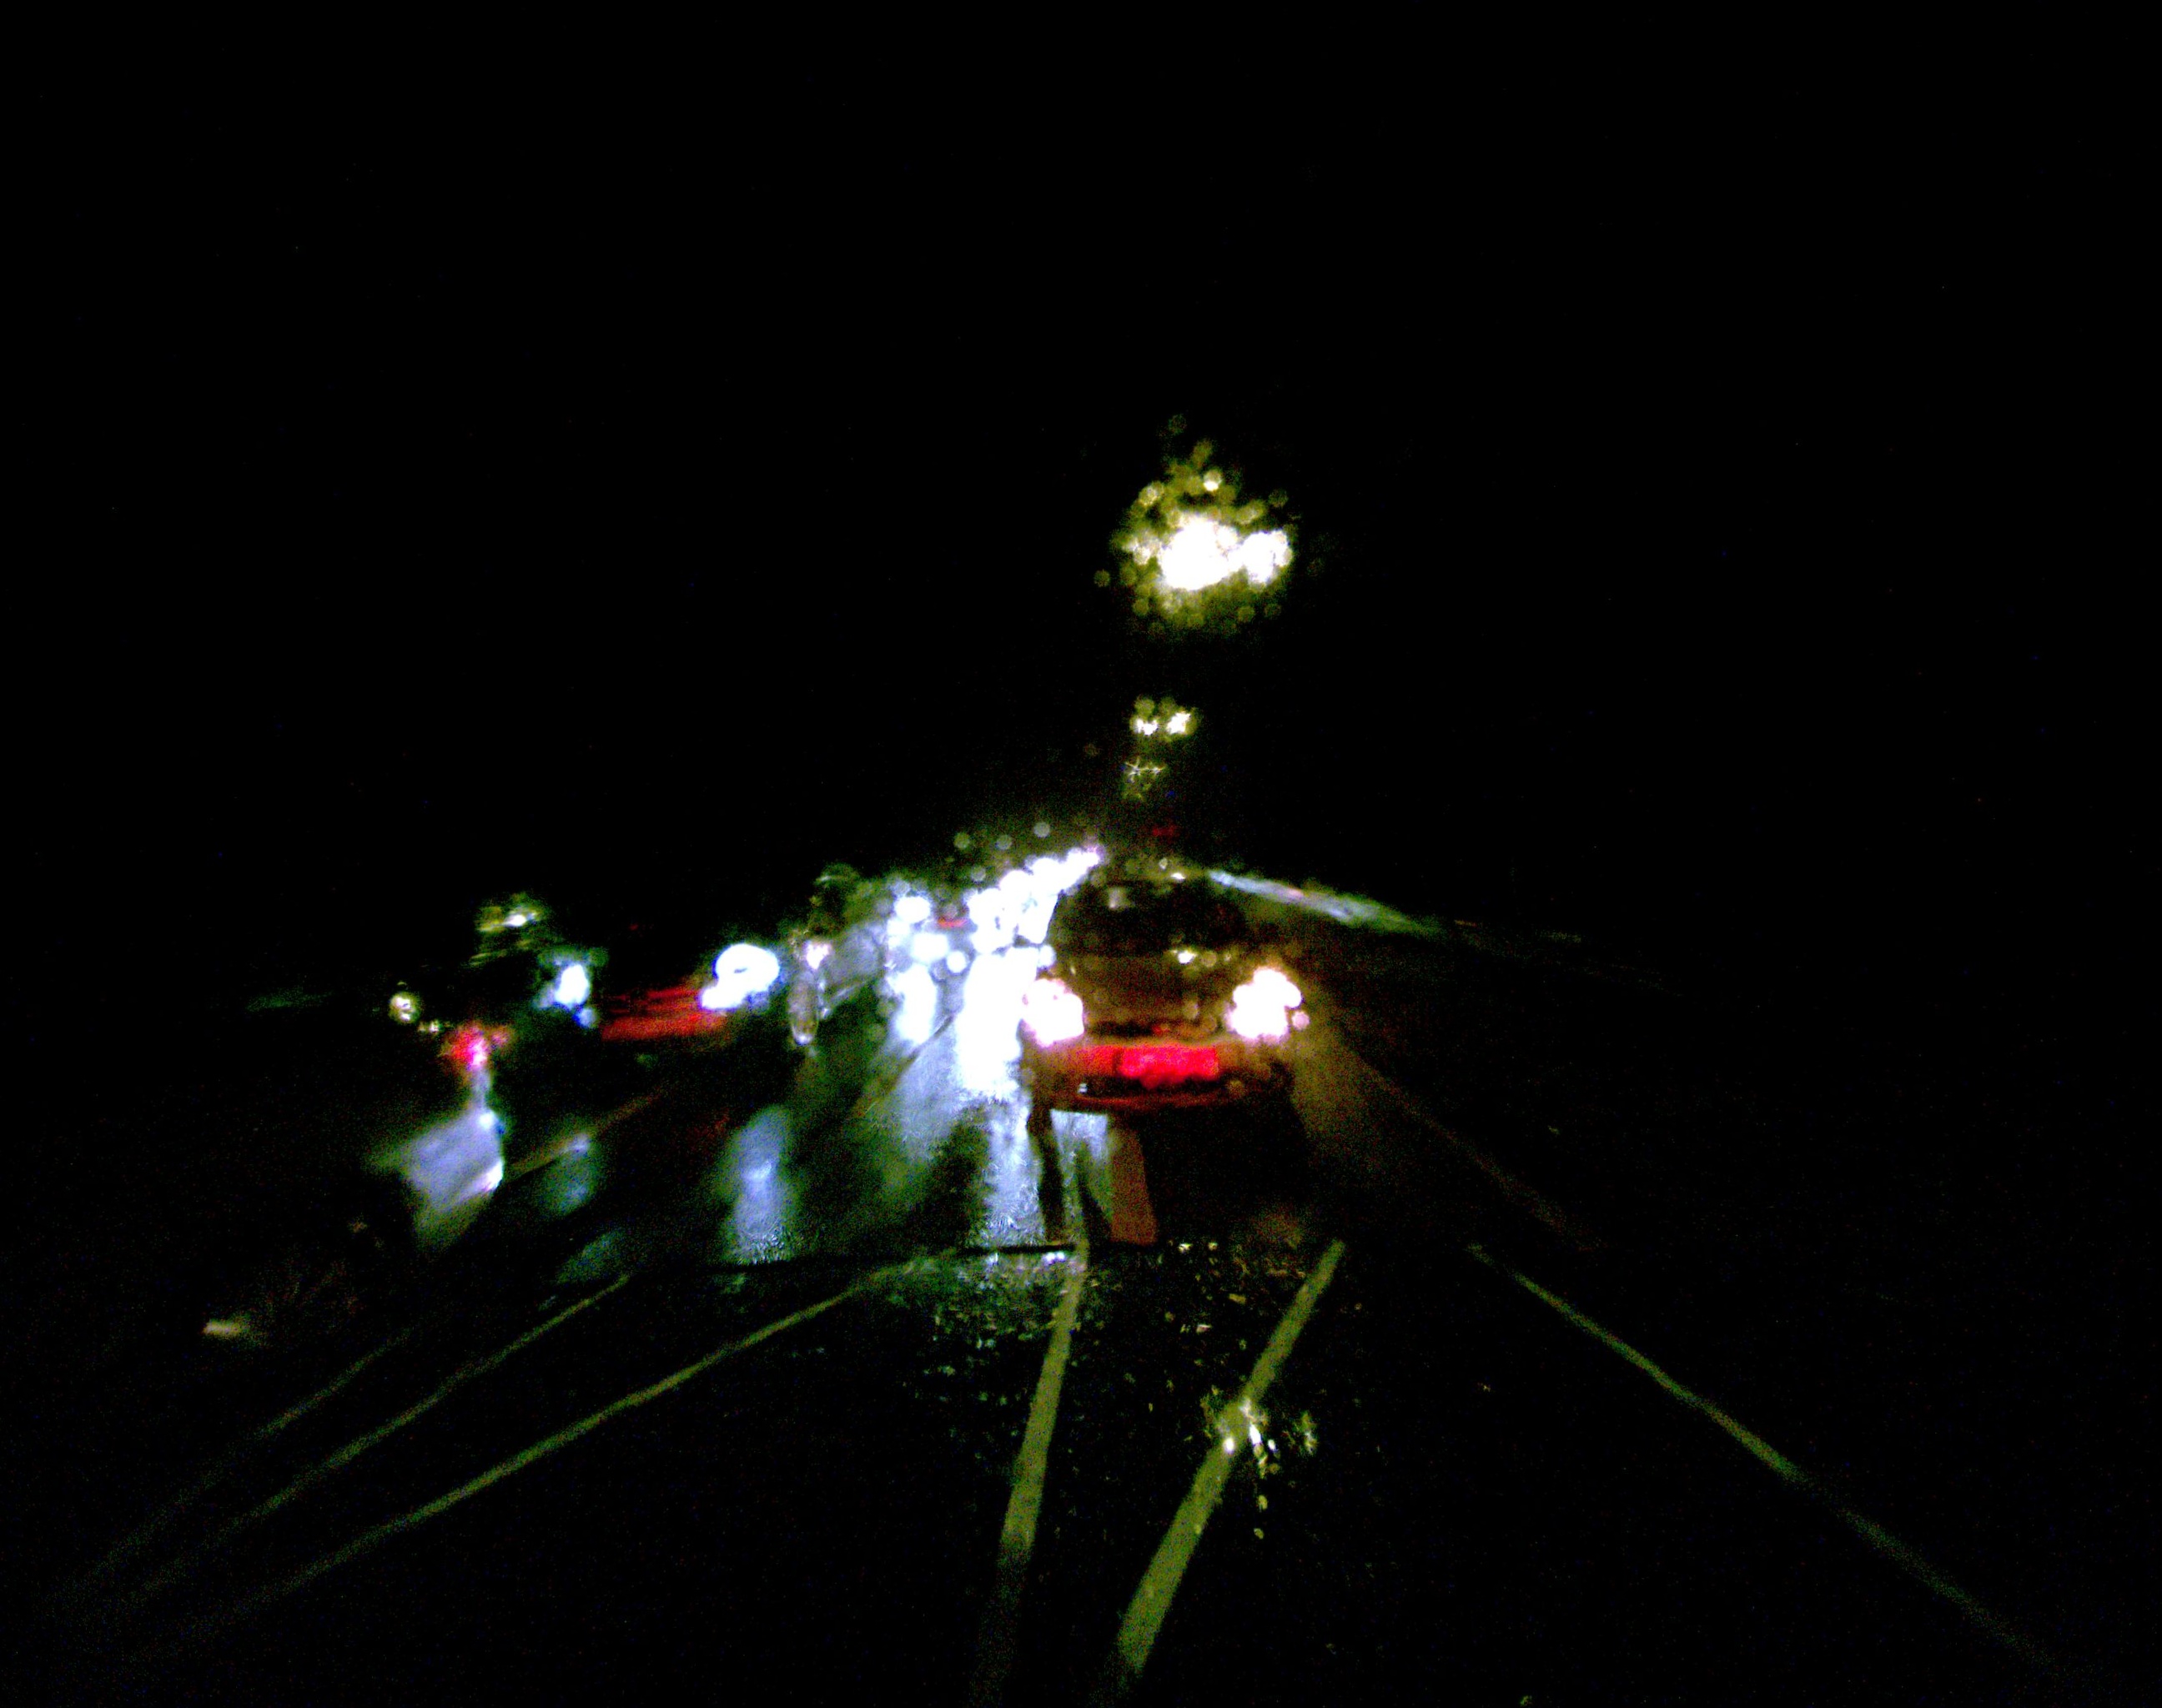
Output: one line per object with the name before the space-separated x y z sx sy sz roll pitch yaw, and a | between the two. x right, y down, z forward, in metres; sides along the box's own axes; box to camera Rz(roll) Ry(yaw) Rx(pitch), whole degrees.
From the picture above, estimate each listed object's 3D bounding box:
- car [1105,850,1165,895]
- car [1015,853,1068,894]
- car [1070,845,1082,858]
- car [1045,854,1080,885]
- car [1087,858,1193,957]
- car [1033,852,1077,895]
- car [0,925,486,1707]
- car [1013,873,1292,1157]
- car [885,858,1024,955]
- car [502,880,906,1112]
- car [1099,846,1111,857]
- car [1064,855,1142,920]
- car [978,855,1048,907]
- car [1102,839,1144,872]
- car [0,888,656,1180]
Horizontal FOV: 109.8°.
car | 1.973 0.636 28.991 1.998 1.497 3.999 -2 1 1
car | -1.626 0.792 32.989 1.998 1.589 4.391 -1 1 1
car | -0.889 -0.441 129.494 1.998 2.002 3.999 -1 1 0
car | -1.117 0.922 47.810 1.998 1.789 4.000 -1 0 1
car | 0.969 0.866 13.855 1.606 1.417 3.389 -4 1 1
car | -1.293 0.970 39.656 1.998 2.002 3.999 -2 1 1
car | -3.079 1.068 0.524 1.711 1.513 4.414 -2 1 1
car | 0.411 0.918 5.822 1.497 1.416 3.389 -1 1 1
car | -2.369 0.924 15.418 1.998 1.589 4.391 -1 1 1
car | -3.150 1.082 7.456 1.743 1.409 4.140 -2 1 2
car | 3.719 -0.381 117.017 1.869 1.654 4.000 -1 0 2
car | 0.571 0.834 20.656 1.838 1.417 3.698 -4 1 1
car | -2.312 0.874 26.826 1.998 1.589 4.391 -1 1 1
car | 2.197 0.061 40.385 1.998 1.574 3.999 -2 1 1
car | -6.123 1.229 6.893 1.998 1.472 4.337 -4 1 0
